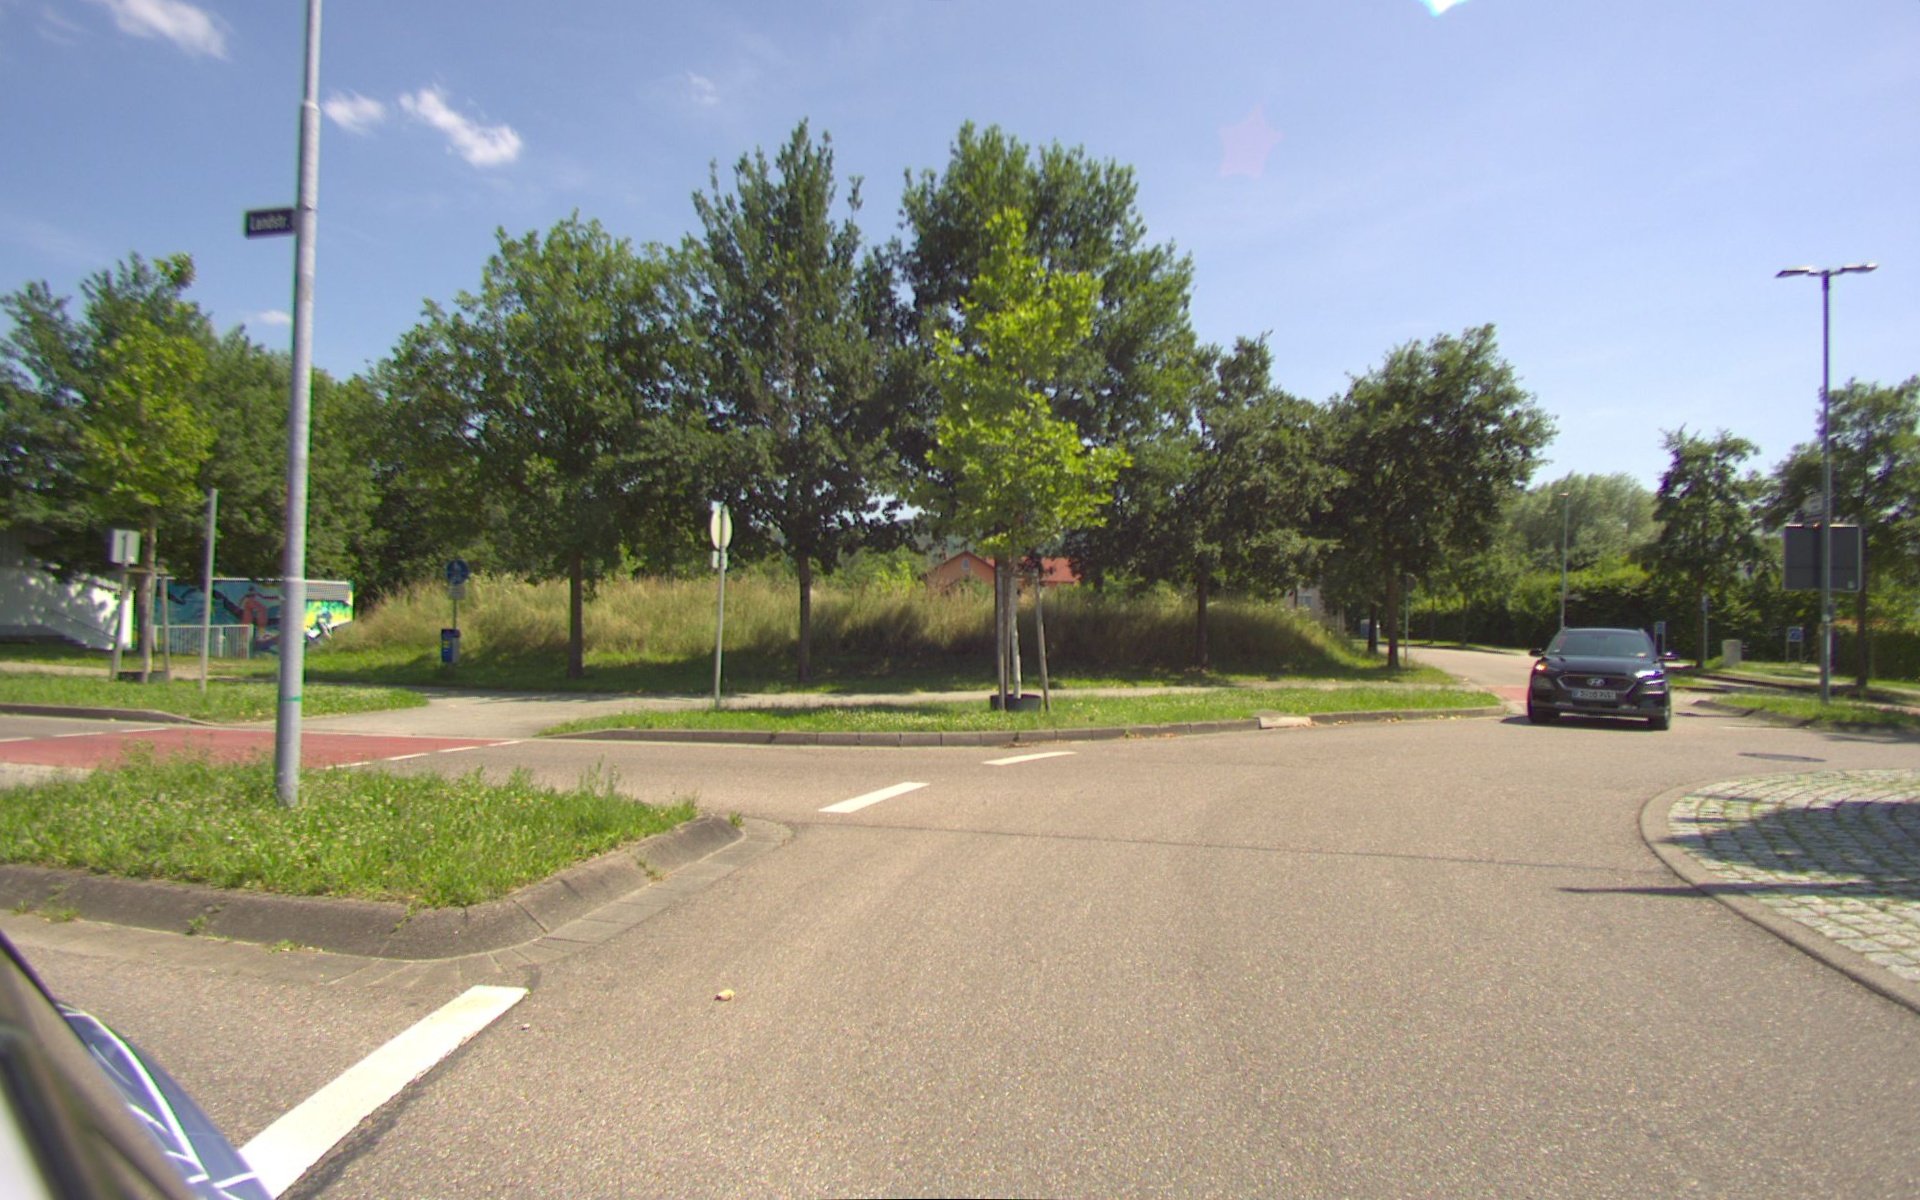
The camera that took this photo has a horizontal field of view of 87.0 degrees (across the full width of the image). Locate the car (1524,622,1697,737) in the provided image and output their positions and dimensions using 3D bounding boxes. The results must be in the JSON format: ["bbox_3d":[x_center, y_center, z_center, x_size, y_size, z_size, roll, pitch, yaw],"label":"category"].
[{"bbox_3d":[10.564,1.179,16.291,1.864,1.581,4.427,-1,-2,39],"label":"car"}]
